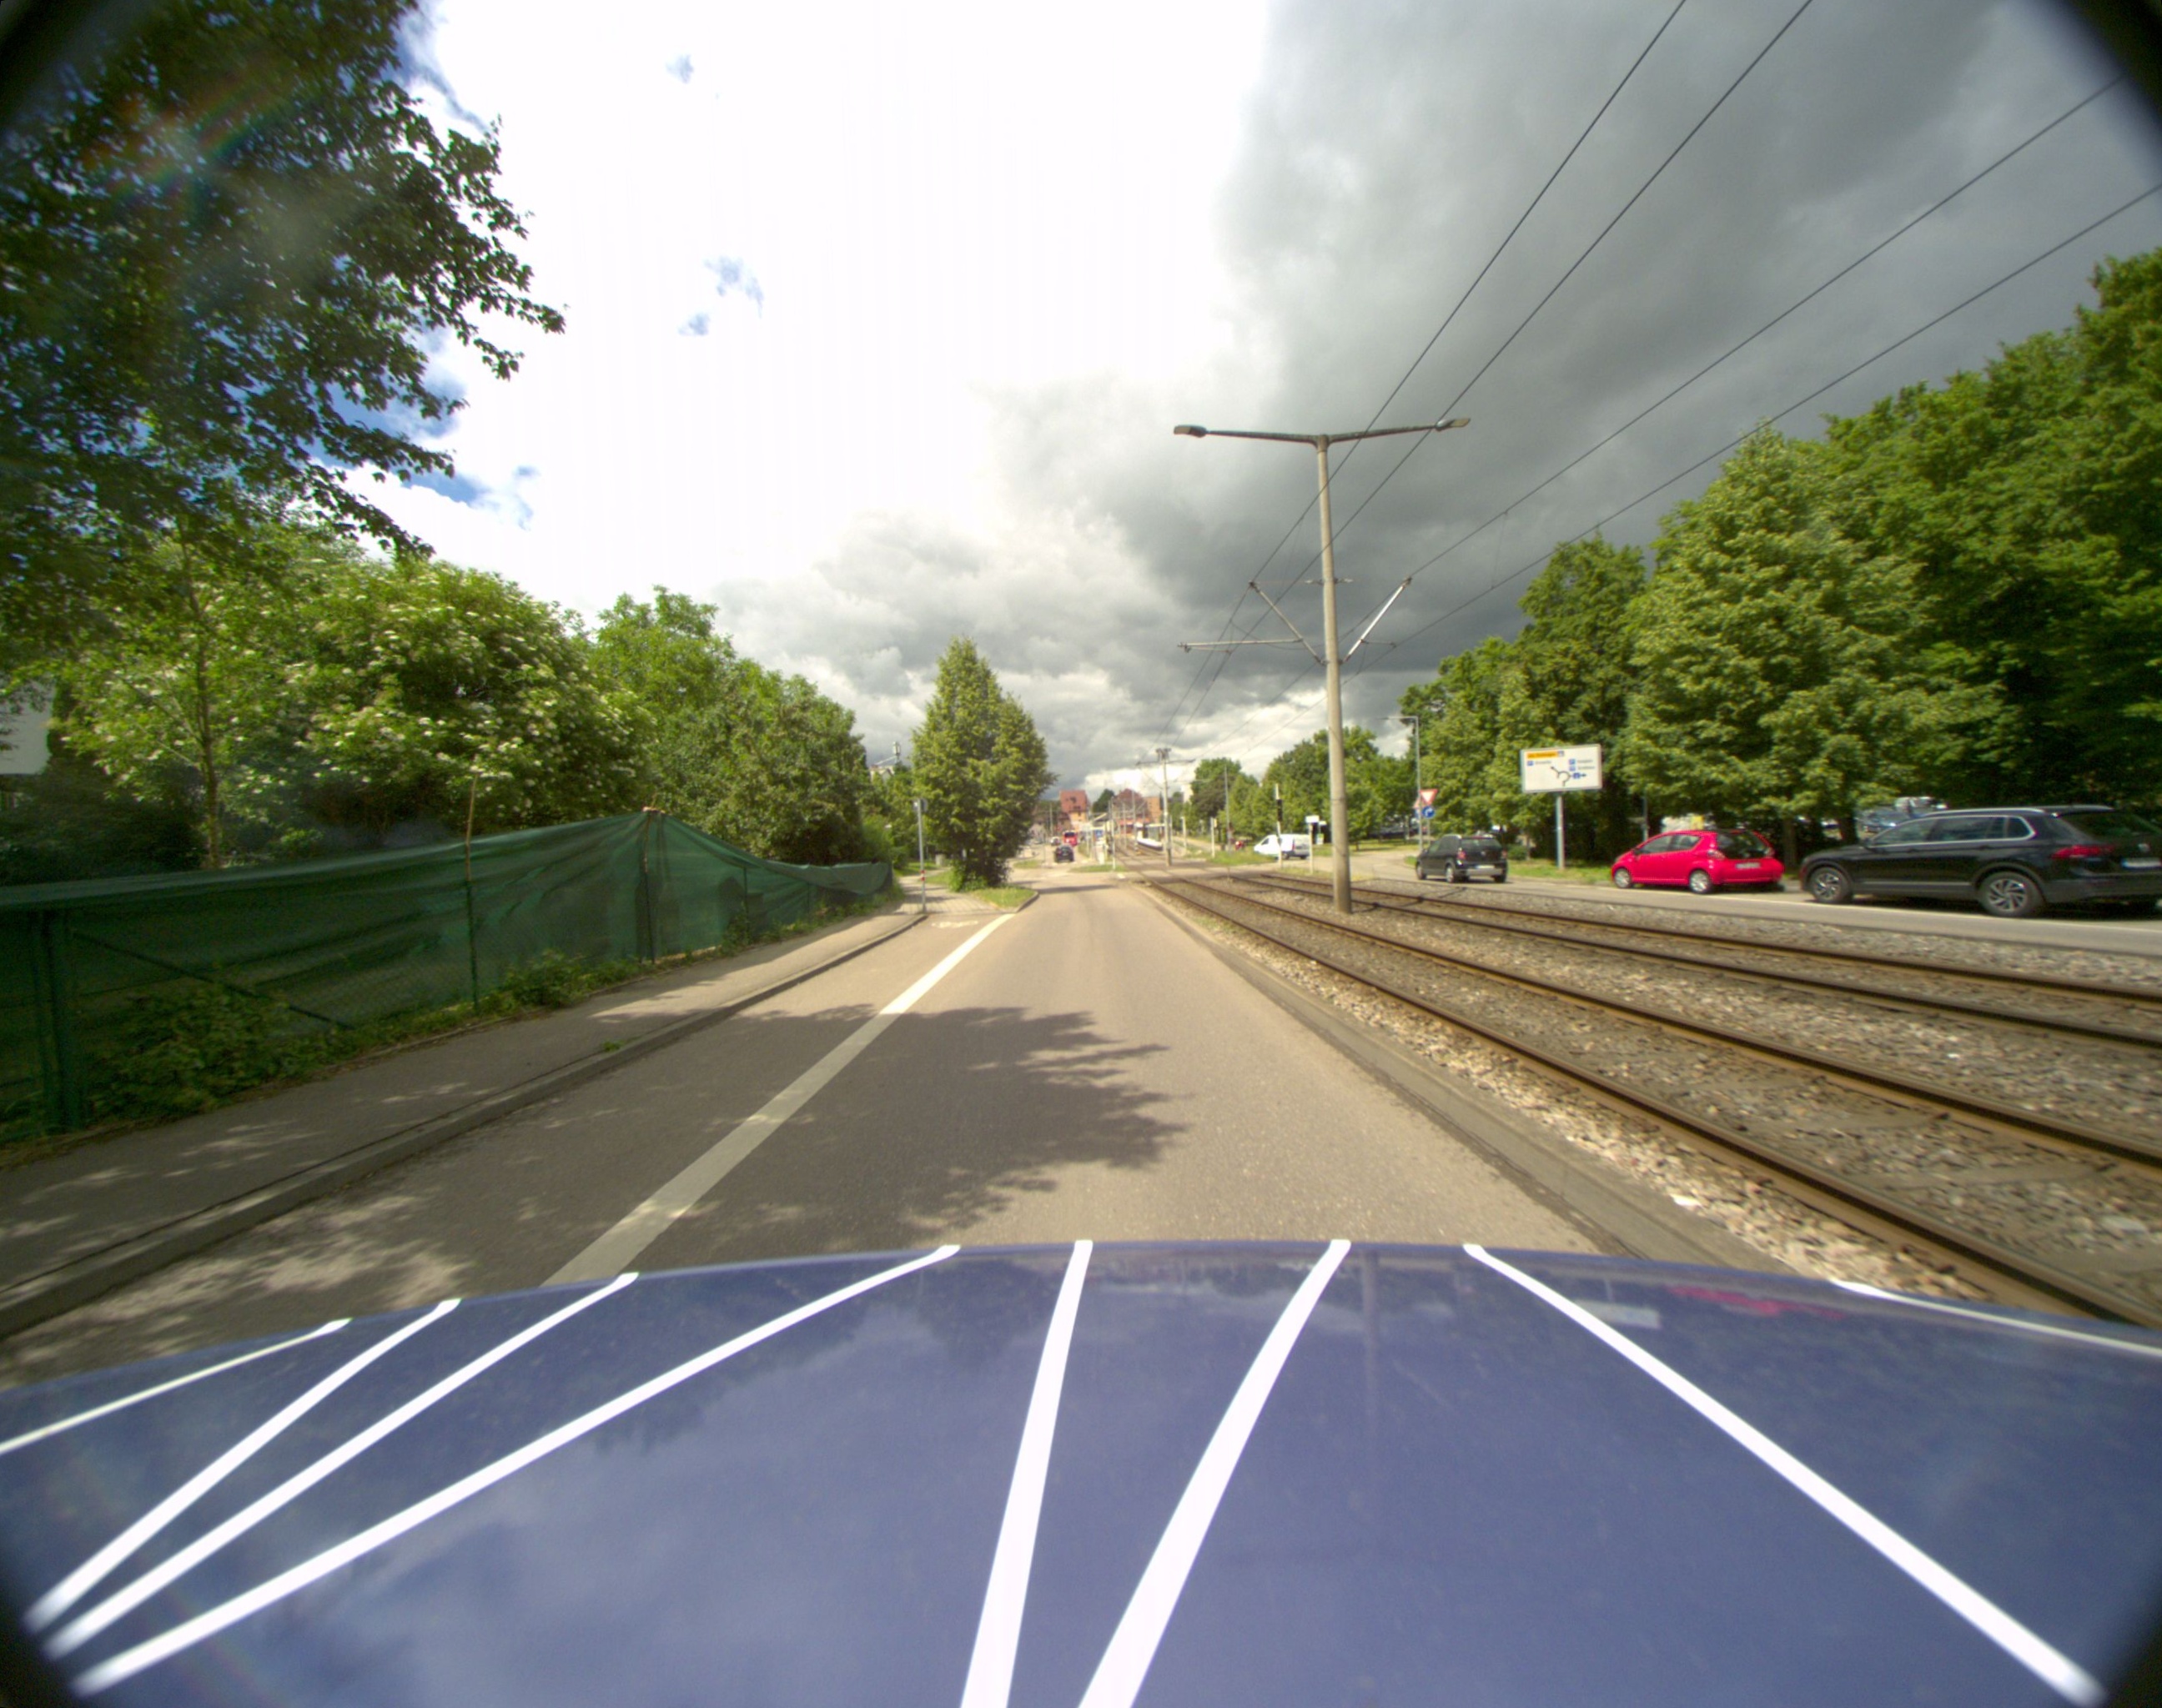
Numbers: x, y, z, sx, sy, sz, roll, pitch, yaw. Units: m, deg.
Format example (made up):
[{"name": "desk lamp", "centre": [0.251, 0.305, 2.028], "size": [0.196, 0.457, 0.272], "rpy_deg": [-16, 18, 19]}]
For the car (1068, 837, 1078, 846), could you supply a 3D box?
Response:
[{"name": "car", "centre": [-1.579, -2.360, 146.087], "size": [1.738, 1.501, 3.514], "rpy_deg": [-4, 2, 1]}]

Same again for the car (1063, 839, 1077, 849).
[{"name": "car", "centre": [-1.709, -1.532, 118.192], "size": [1.940, 1.374, 4.660], "rpy_deg": [-4, 2, 1]}]

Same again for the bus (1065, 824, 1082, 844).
[{"name": "bus", "centre": [-1.576, -4.227, 161.643], "size": [2.923, 3.864, 10.378], "rpy_deg": [-3, 1, 2]}]

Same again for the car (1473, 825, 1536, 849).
[{"name": "car", "centre": [34.673, -1.381, 62.221], "size": [4.352, 1.680, 1.740], "rpy_deg": [-5, 2, -13]}]

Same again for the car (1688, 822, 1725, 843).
[{"name": "car", "centre": [50.984, -1.778, 61.964], "size": [1.754, 1.412, 4.006], "rpy_deg": [-3, 2, 32]}]

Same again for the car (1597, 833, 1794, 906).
[{"name": "car", "centre": [14.514, 0.282, 18.225], "size": [1.617, 1.443, 3.660], "rpy_deg": [-4, 2, -2]}]

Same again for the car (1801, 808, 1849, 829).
[{"name": "car", "centre": [56.722, -2.736, 57.997], "size": [1.754, 1.412, 4.006], "rpy_deg": [-3, 2, 32]}]

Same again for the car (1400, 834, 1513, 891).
[{"name": "car", "centre": [11.974, 0.197, 24.504], "size": [1.617, 1.565, 3.999], "rpy_deg": [-4, 2, 0]}]

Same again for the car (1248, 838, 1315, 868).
[{"name": "car", "centre": [15.059, -0.097, 57.345], "size": [1.883, 2.007, 5.224], "rpy_deg": [-5, 2, -24]}]

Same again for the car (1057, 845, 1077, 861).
[{"name": "car", "centre": [-1.485, -0.103, 78.576], "size": [1.858, 1.576, 4.323], "rpy_deg": [-2, 1, -2]}]

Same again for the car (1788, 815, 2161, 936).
[{"name": "car", "centre": [14.316, 0.270, 12.364], "size": [1.584, 1.596, 4.375], "rpy_deg": [-2, 0, 1]}]
